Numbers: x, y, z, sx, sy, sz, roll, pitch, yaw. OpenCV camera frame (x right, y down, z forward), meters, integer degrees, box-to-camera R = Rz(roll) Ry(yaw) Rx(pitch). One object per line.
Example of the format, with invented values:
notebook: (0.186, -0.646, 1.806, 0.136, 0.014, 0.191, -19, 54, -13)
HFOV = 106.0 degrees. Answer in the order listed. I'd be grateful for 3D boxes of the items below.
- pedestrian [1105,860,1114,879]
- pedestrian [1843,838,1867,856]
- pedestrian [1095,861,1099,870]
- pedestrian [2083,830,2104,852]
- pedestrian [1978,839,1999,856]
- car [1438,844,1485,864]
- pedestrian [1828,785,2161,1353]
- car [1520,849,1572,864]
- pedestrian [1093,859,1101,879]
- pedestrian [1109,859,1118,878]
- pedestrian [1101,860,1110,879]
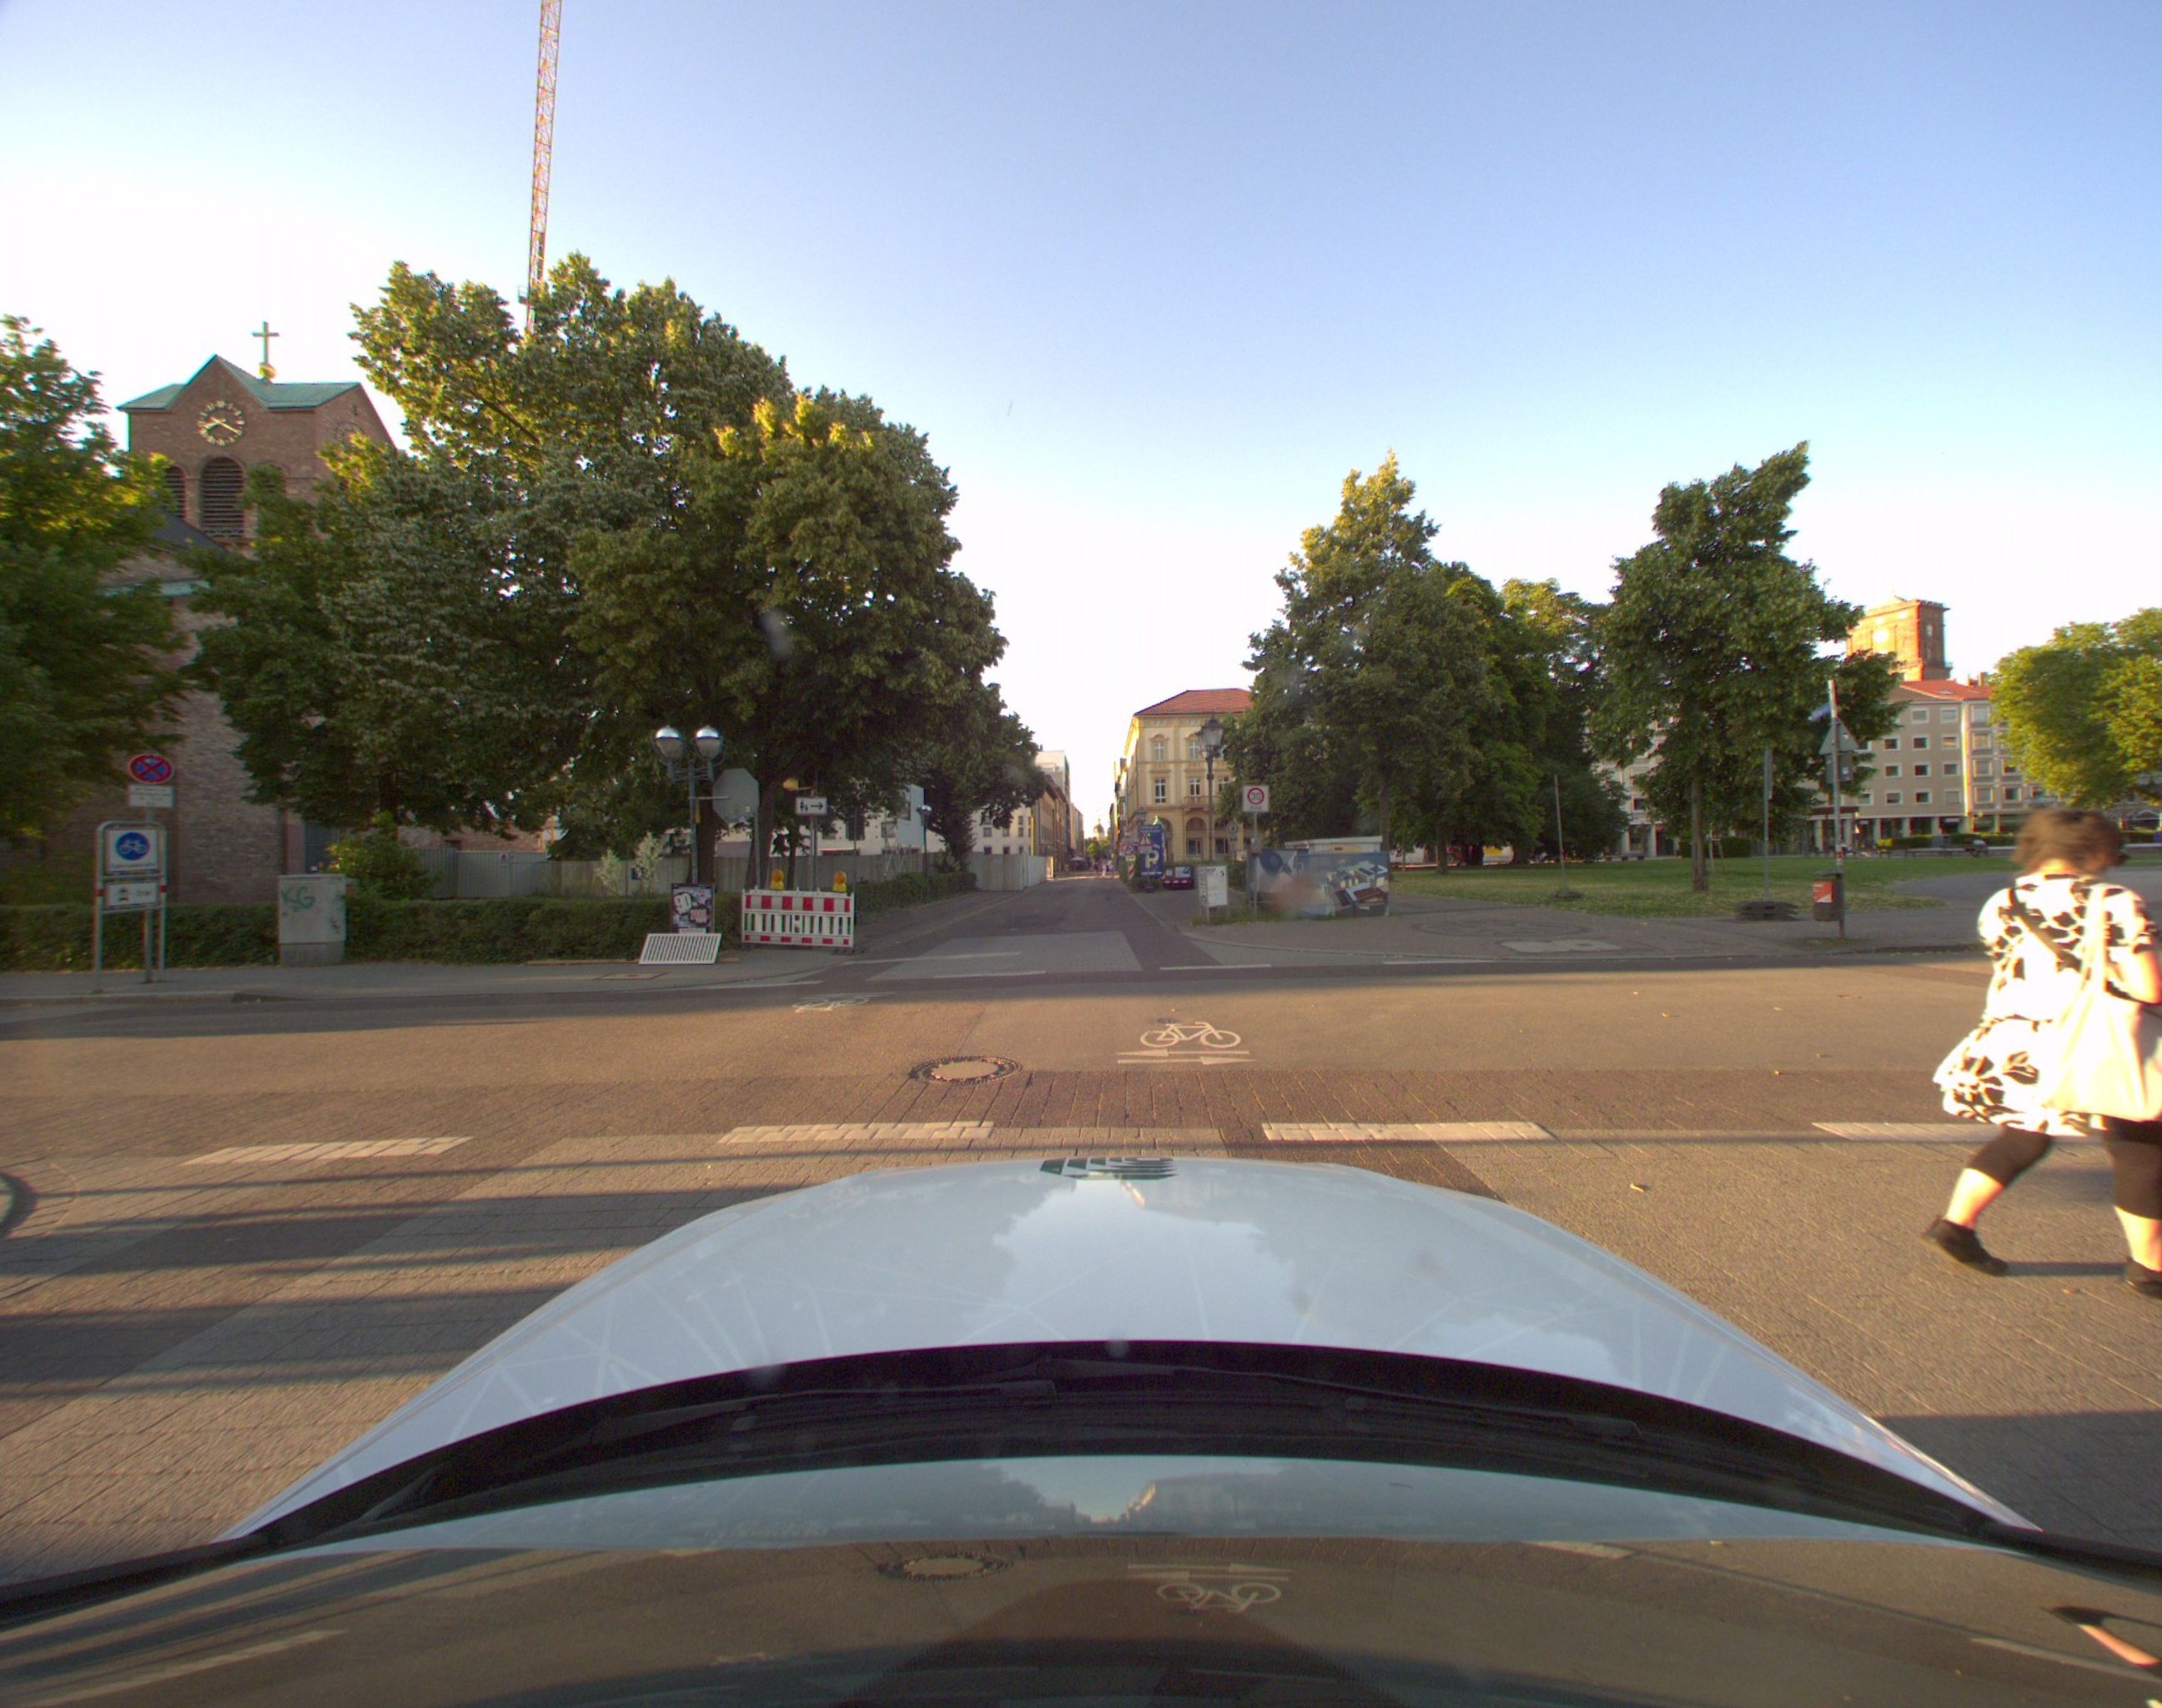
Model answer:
pedestrian: (2.536, 1.372, 72.455, 0.655, 1.636, 0.745, -2, -1, 1)
pedestrian: (50.131, -0.452, 52.768, 0.889, 1.077, 0.624, -3, -1, 18)
pedestrian: (3.292, 2.421, 166.540, 0.741, 1.834, 0.760, -2, -1, -5)
pedestrian: (52.083, -0.654, 41.888, 0.514, 1.077, 0.614, -1, -1, -39)
pedestrian: (50.416, -0.354, 45.243, 0.512, 0.925, 0.616, -2, -1, -24)
car: (39.902, 0.007, 85.450, 4.016, 2.014, 2.001, -2, -1, 2)
pedestrian: (3.410, 0.636, 2.861, 0.731, 1.689, 0.836, -2, -1, 0)
car: (42.082, 0.205, 73.759, 3.568, 1.240, 1.996, -2, -1, -6)
pedestrian: (1.394, 1.342, 72.467, 0.655, 1.760, 0.745, -2, -1, 1)
pedestrian: (2.849, 1.297, 71.196, 0.655, 1.617, 0.745, -2, -1, 1)
pedestrian: (2.137, 1.351, 71.201, 0.655, 1.617, 0.745, -2, -1, 1)
